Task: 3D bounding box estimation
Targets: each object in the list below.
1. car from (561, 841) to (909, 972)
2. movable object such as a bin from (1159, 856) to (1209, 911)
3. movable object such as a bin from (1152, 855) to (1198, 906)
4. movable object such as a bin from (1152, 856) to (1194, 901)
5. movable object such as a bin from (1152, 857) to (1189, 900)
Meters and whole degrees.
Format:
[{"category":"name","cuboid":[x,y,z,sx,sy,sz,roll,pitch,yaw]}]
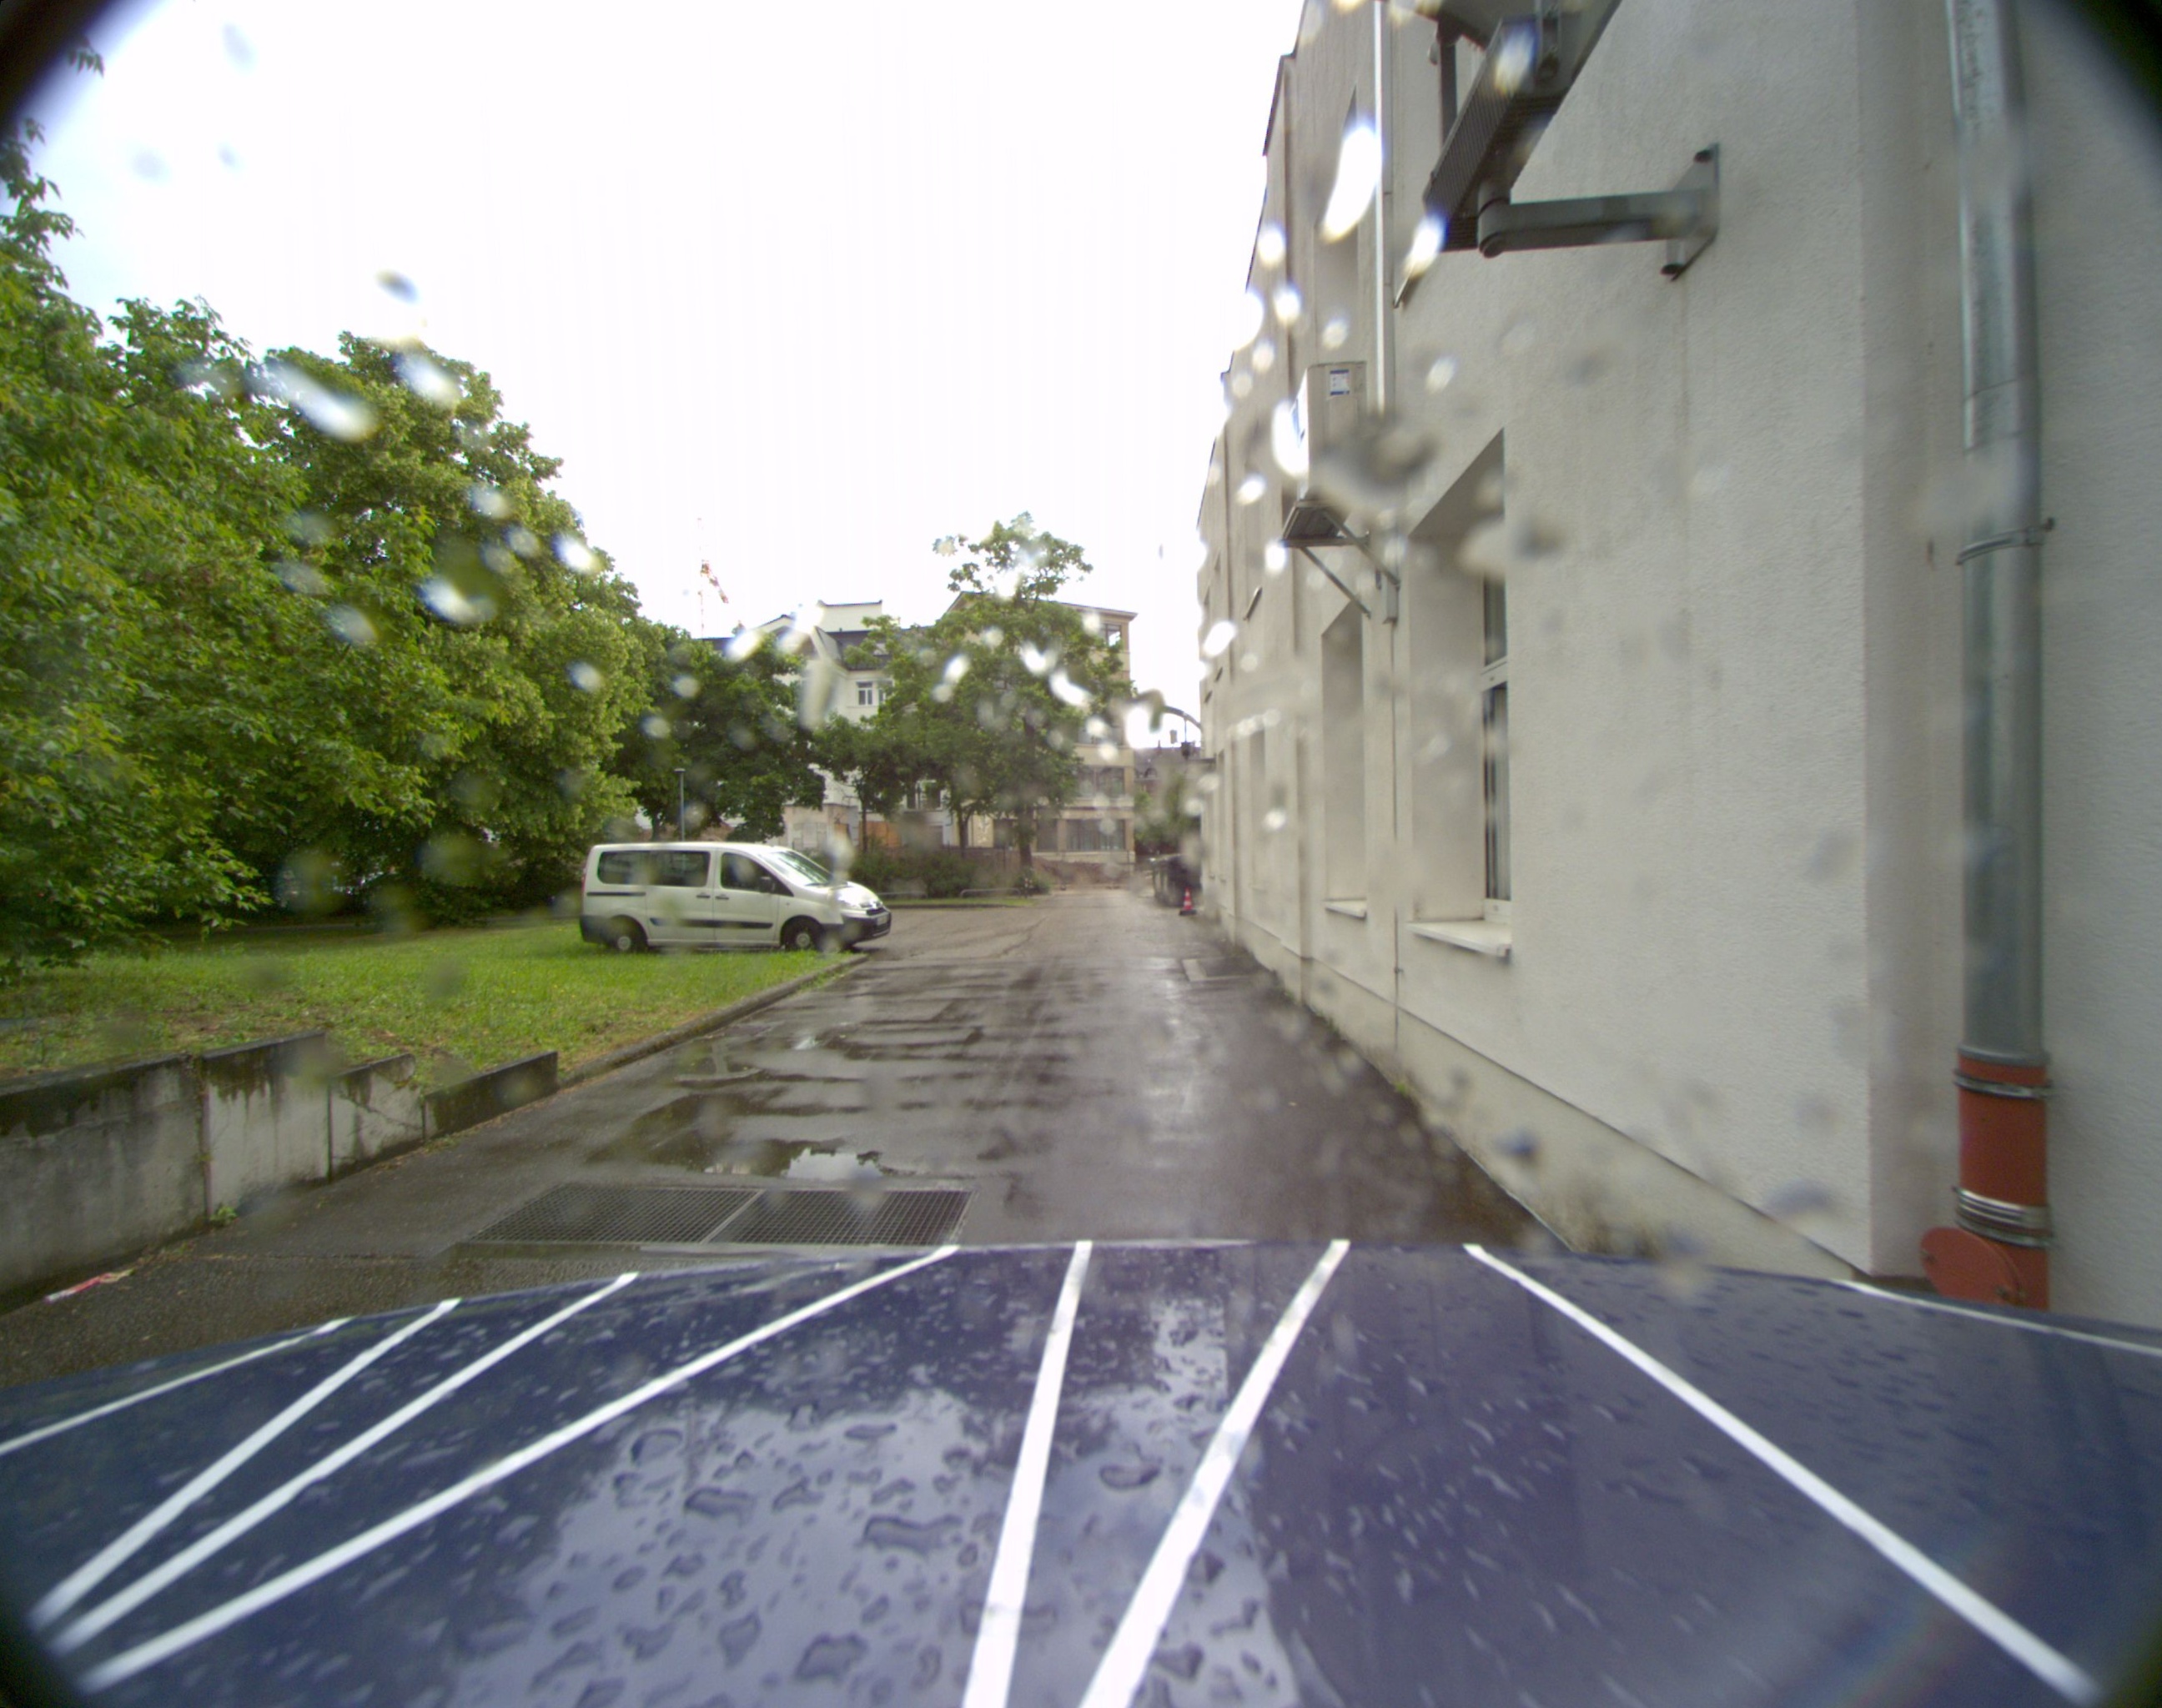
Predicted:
[{"category":"car","cuboid":[-5.656,0.820,12.853,4.884,1.915,2.100,-2,1,5]},{"category":"movable object such as a bin","cuboid":[2.895,0.820,21.607,1.167,1.474,1.594,0,1,-2]},{"category":"movable object such as a bin","cuboid":[2.846,0.788,23.208,1.167,1.474,1.496,0,1,-2]},{"category":"movable object such as a bin","cuboid":[3.133,0.842,26.098,1.167,1.474,1.403,-2,-1,-3]},{"category":"movable object such as a bin","cuboid":[3.257,0.877,27.624,1.103,1.464,1.487,-2,0,14]}]
